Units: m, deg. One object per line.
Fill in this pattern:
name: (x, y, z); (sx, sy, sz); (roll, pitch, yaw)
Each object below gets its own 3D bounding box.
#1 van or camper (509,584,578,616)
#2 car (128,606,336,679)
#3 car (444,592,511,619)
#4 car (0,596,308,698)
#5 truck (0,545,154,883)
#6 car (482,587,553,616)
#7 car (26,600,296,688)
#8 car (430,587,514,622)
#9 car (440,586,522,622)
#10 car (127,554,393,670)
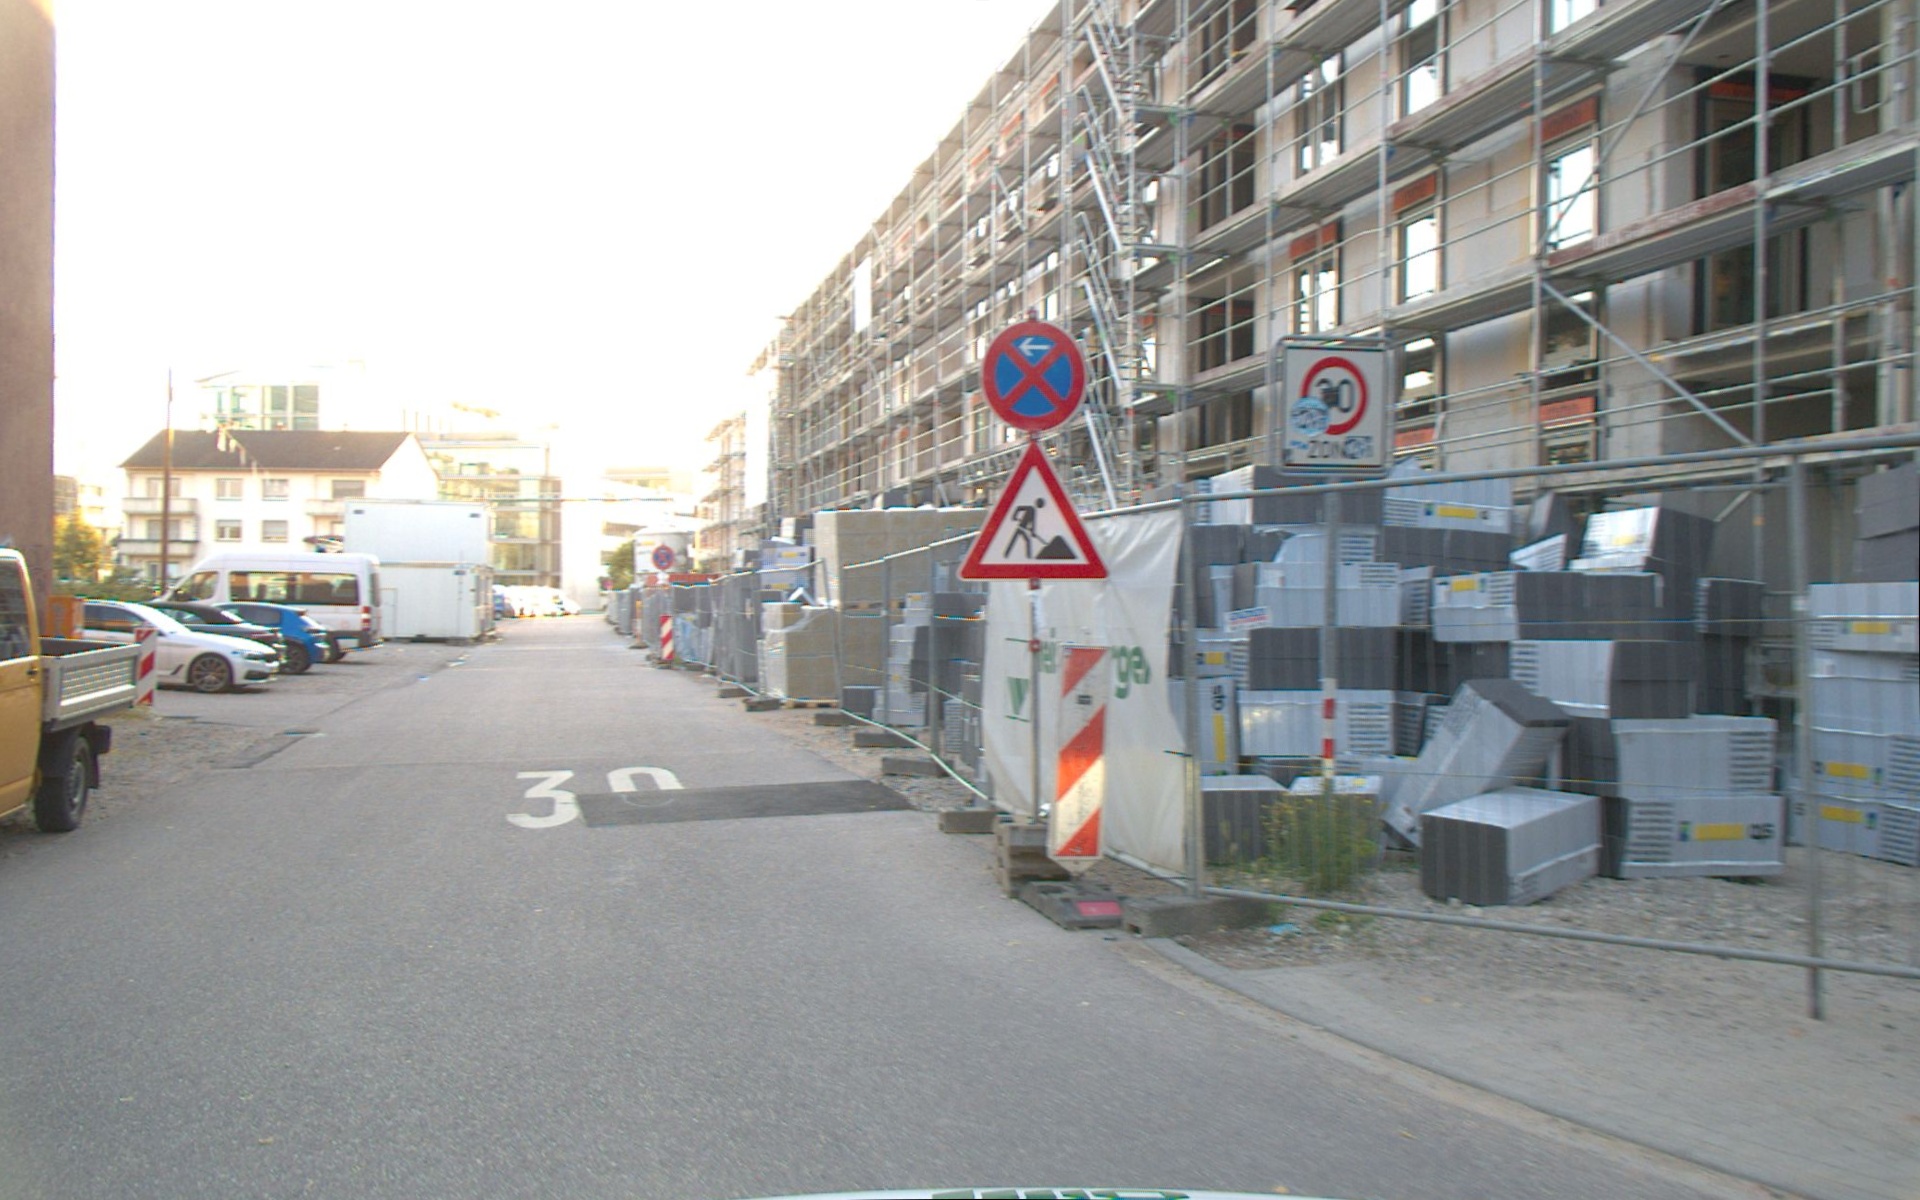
van or camper: (-40.885, -0.010, 162.560); (6.204, 3.031, 2.292); (1, -1, -2)
car: (-15.267, 0.889, 34.898); (3.774, 1.454, 1.720); (1, -1, -17)
car: (-33.915, 0.371, 116.170); (4.436, 1.901, 1.989); (0, 0, -20)
car: (-14.193, 0.805, 28.826); (4.906, 1.571, 2.109); (2, -1, -12)
truck: (-6.652, 0.640, 9.979); (2.000, 1.946, 5.640); (2, -1, -14)
car: (-39.767, 0.155, 148.735); (5.805, 2.533, 1.999); (0, 0, -3)
car: (-15.043, 0.830, 31.384); (4.346, 1.571, 1.719); (1, -1, -18)
car: (-38.157, 0.360, 129.461); (6.219, 2.697, 1.993); (0, 0, -14)
car: (-38.526, 0.319, 133.108); (6.219, 2.789, 1.993); (0, 0, -14)
car: (-17.029, 0.309, 40.562); (5.589, 2.672, 2.215); (1, -1, -13)
